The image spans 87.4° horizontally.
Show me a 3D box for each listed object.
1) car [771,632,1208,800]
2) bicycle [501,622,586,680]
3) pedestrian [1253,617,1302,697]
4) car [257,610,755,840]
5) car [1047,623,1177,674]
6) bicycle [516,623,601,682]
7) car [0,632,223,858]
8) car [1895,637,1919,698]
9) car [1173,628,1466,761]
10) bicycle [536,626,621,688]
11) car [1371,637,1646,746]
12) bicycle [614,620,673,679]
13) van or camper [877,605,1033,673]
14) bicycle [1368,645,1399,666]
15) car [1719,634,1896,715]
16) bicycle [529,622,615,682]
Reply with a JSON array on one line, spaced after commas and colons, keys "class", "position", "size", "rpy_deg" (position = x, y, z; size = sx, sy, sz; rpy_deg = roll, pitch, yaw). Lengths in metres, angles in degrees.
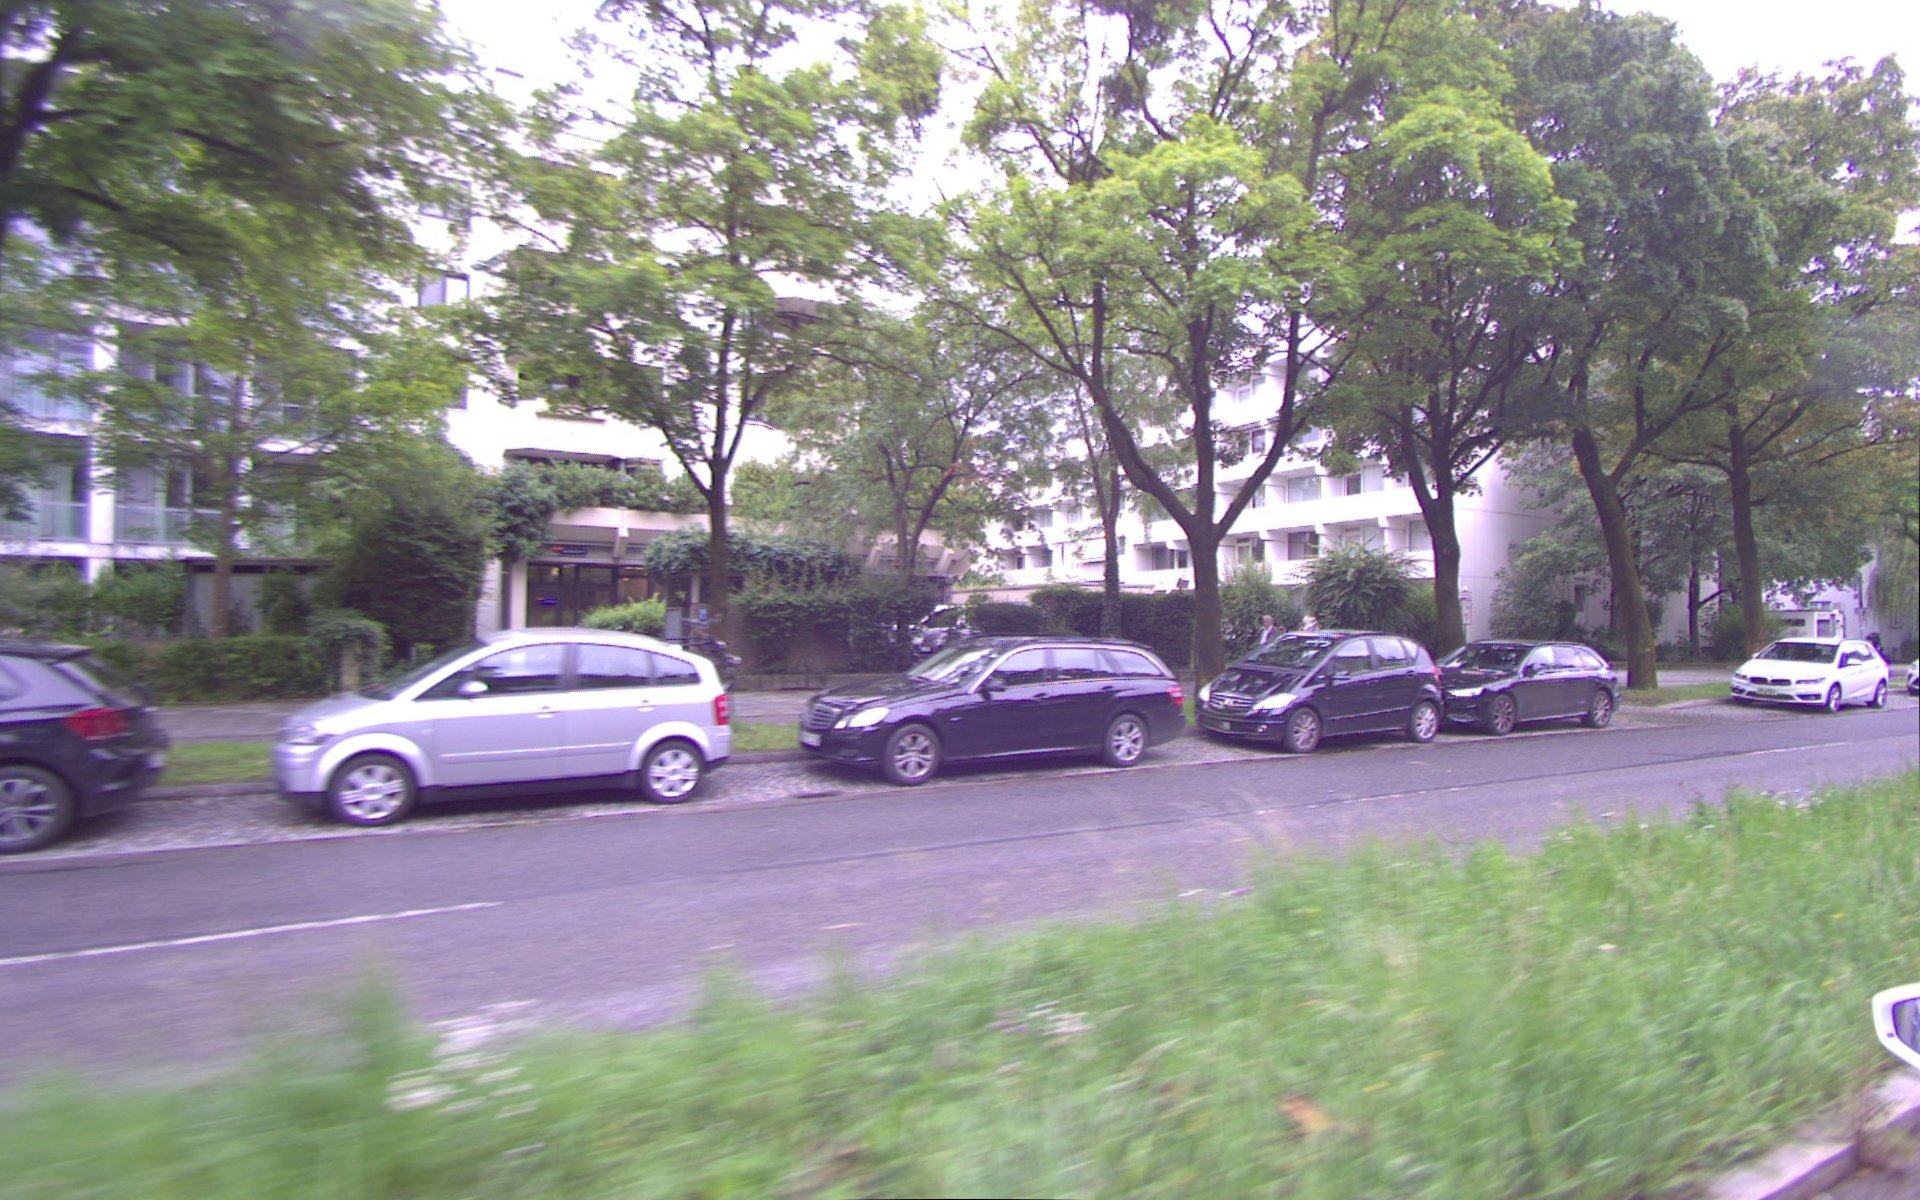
[{"class": "car", "position": [0.464, 1.200, 11.781], "size": [4.976, 1.545, 1.707], "rpy_deg": [1, 1, -31]}, {"class": "bicycle", "position": [-9.333, 1.130, 22.584], "size": [0.522, 1.243, 1.859], "rpy_deg": [0, -2, 27]}, {"class": "pedestrian", "position": [6.868, 1.227, 21.760], "size": [0.600, 1.678, 0.846], "rpy_deg": [1, -2, -24]}, {"class": "car", "position": [-3.988, 0.987, 9.196], "size": [3.821, 1.670, 1.618], "rpy_deg": [1, 1, -30]}, {"class": "car", "position": [4.532, 1.420, 30.532], "size": [1.841, 1.436, 3.957], "rpy_deg": [1, -2, -31]}, {"class": "bicycle", "position": [-8.842, 1.136, 22.215], "size": [0.522, 1.243, 1.859], "rpy_deg": [0, -2, 27]}, {"class": "car", "position": [-7.803, 0.984, 6.960], "size": [4.141, 1.442, 1.618], "rpy_deg": [1, 1, -29]}, {"class": "car", "position": [28.073, 1.883, 27.883], "size": [4.437, 1.631, 1.824], "rpy_deg": [1, 1, -30]}, {"class": "car", "position": [5.249, 1.260, 14.541], "size": [4.160, 1.618, 1.678], "rpy_deg": [1, 1, -30]}, {"class": "bicycle", "position": [-8.013, 1.185, 21.191], "size": [0.521, 1.243, 1.861], "rpy_deg": [0, -2, 23]}, {"class": "car", "position": [9.299, 1.440, 16.917], "size": [4.888, 1.533, 1.752], "rpy_deg": [1, 1, -30]}, {"class": "bicycle", "position": [-6.892, 1.061, 21.839], "size": [0.528, 1.243, 1.839], "rpy_deg": [2, -2, -40]}, {"class": "van or camper", "position": [-0.120, 1.154, 30.189], "size": [4.378, 1.896, 1.848], "rpy_deg": [1, -1, -30]}, {"class": "bicycle", "position": [18.092, 2.367, 42.897], "size": [1.433, 0.912, 0.456], "rpy_deg": [1, -2, -31]}, {"class": "car", "position": [19.392, 1.635, 22.944], "size": [4.438, 1.616, 1.748], "rpy_deg": [1, 1, -31]}, {"class": "bicycle", "position": [-8.393, 1.118, 21.818], "size": [0.522, 1.243, 1.859], "rpy_deg": [0, -2, 27]}]
